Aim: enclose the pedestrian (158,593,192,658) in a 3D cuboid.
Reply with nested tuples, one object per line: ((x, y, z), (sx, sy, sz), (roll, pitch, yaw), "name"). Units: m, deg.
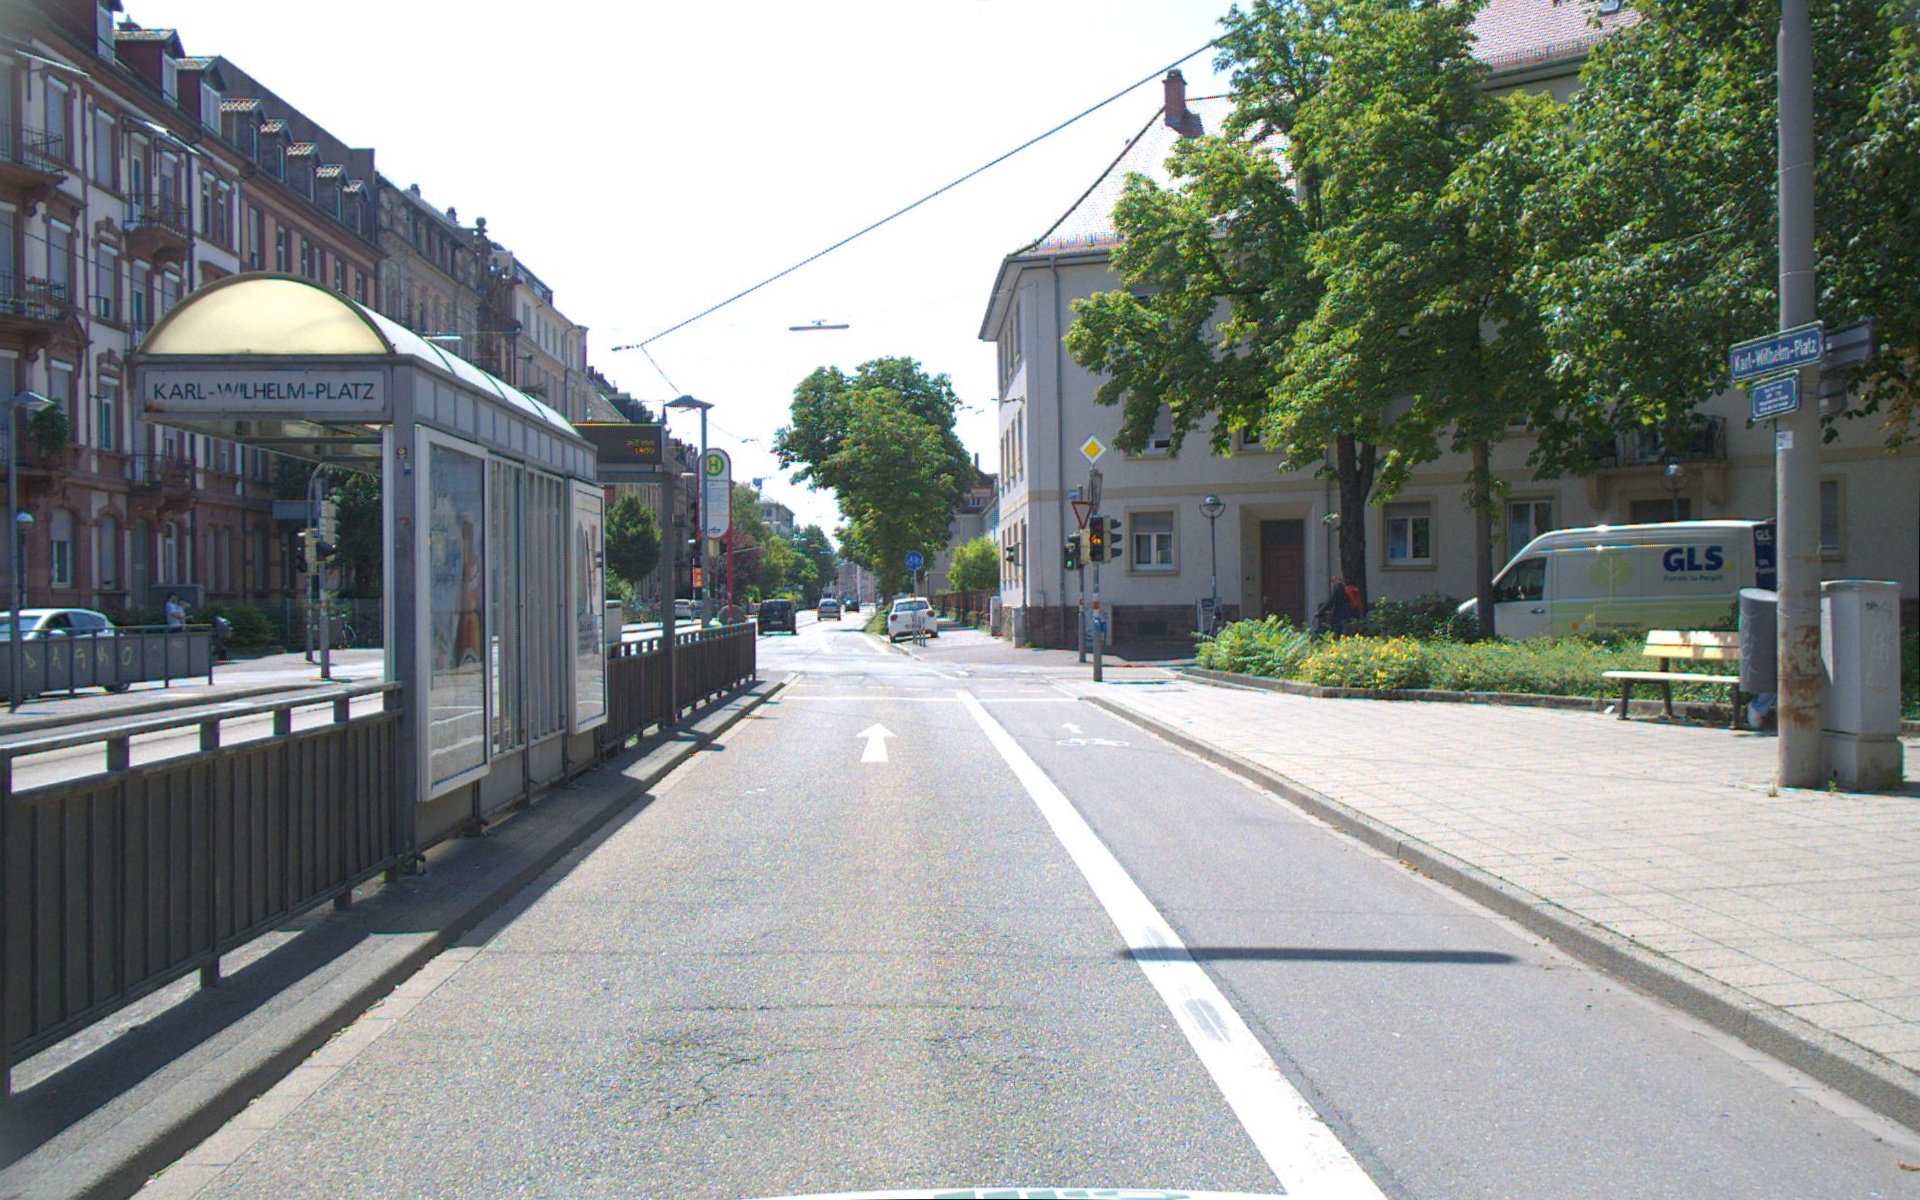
((-20.284, 0.652, 42.744), (0.462, 1.643, 0.649), (3, 2, 45), "pedestrian")

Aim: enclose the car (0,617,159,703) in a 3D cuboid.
((-15.448, 0.996, 28.691), (1.510, 1.362, 3.716), (0, 0, -4), "car")

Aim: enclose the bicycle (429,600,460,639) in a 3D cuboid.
((-18.788, 0.715, 60.253), (0.585, 1.380, 2.416), (0, 0, -29), "bicycle")

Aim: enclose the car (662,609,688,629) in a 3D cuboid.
((-23.341, 1.536, 135.577), (1.652, 1.498, 3.934), (-4, 0, -5), "car")

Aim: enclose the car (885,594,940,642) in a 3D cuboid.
((-1.716, 0.620, 58.494), (1.713, 1.498, 3.935), (-4, 0, -4), "car")

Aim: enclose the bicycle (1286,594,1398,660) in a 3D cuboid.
((7.398, 0.519, 32.071), (2.042, 1.258, 0.579), (-1, 0, 31), "bicycle")

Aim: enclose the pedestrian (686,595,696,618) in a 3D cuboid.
((-20.393, 0.472, 125.388), (0.664, 1.758, 0.677), (0, 0, -4), "pedestrian")

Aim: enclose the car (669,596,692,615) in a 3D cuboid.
((-24.345, 0.494, 144.140), (1.597, 1.498, 3.560), (-4, 0, -5), "car")

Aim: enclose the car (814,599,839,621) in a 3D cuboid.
((-9.513, 0.693, 118.113), (1.712, 1.498, 3.935), (-1, 0, -4), "car")

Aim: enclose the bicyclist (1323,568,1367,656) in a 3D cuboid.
((7.455, 0.235, 32.051), (0.681, 1.675, 0.579), (-1, -1, 31), "bicyclist")

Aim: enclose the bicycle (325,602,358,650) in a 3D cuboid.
((-18.995, 0.787, 50.753), (0.607, 1.420, 2.285), (0, 0, -29), "bicycle")

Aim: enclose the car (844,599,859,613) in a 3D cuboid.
((-13.152, 0.756, 200.360), (1.597, 1.498, 3.560), (-4, 0, -5), "car")

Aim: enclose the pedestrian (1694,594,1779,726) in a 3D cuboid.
((6.841, 0.521, 14.586), (0.499, 1.111, 0.478), (-3, 1, 3), "pedestrian")

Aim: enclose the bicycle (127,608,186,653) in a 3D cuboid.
((-21.760, 0.817, 44.821), (0.357, 1.190, 1.517), (1, 1, 29), "bicycle")

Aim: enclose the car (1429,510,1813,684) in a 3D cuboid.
((10.974, -0.028, 27.895), (1.983, 2.635, 5.760), (0, 0, -42), "car")

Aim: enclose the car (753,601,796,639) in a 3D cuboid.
((-7.790, 0.822, 69.744), (1.494, 1.469, 3.363), (-3, 0, -3), "car")
